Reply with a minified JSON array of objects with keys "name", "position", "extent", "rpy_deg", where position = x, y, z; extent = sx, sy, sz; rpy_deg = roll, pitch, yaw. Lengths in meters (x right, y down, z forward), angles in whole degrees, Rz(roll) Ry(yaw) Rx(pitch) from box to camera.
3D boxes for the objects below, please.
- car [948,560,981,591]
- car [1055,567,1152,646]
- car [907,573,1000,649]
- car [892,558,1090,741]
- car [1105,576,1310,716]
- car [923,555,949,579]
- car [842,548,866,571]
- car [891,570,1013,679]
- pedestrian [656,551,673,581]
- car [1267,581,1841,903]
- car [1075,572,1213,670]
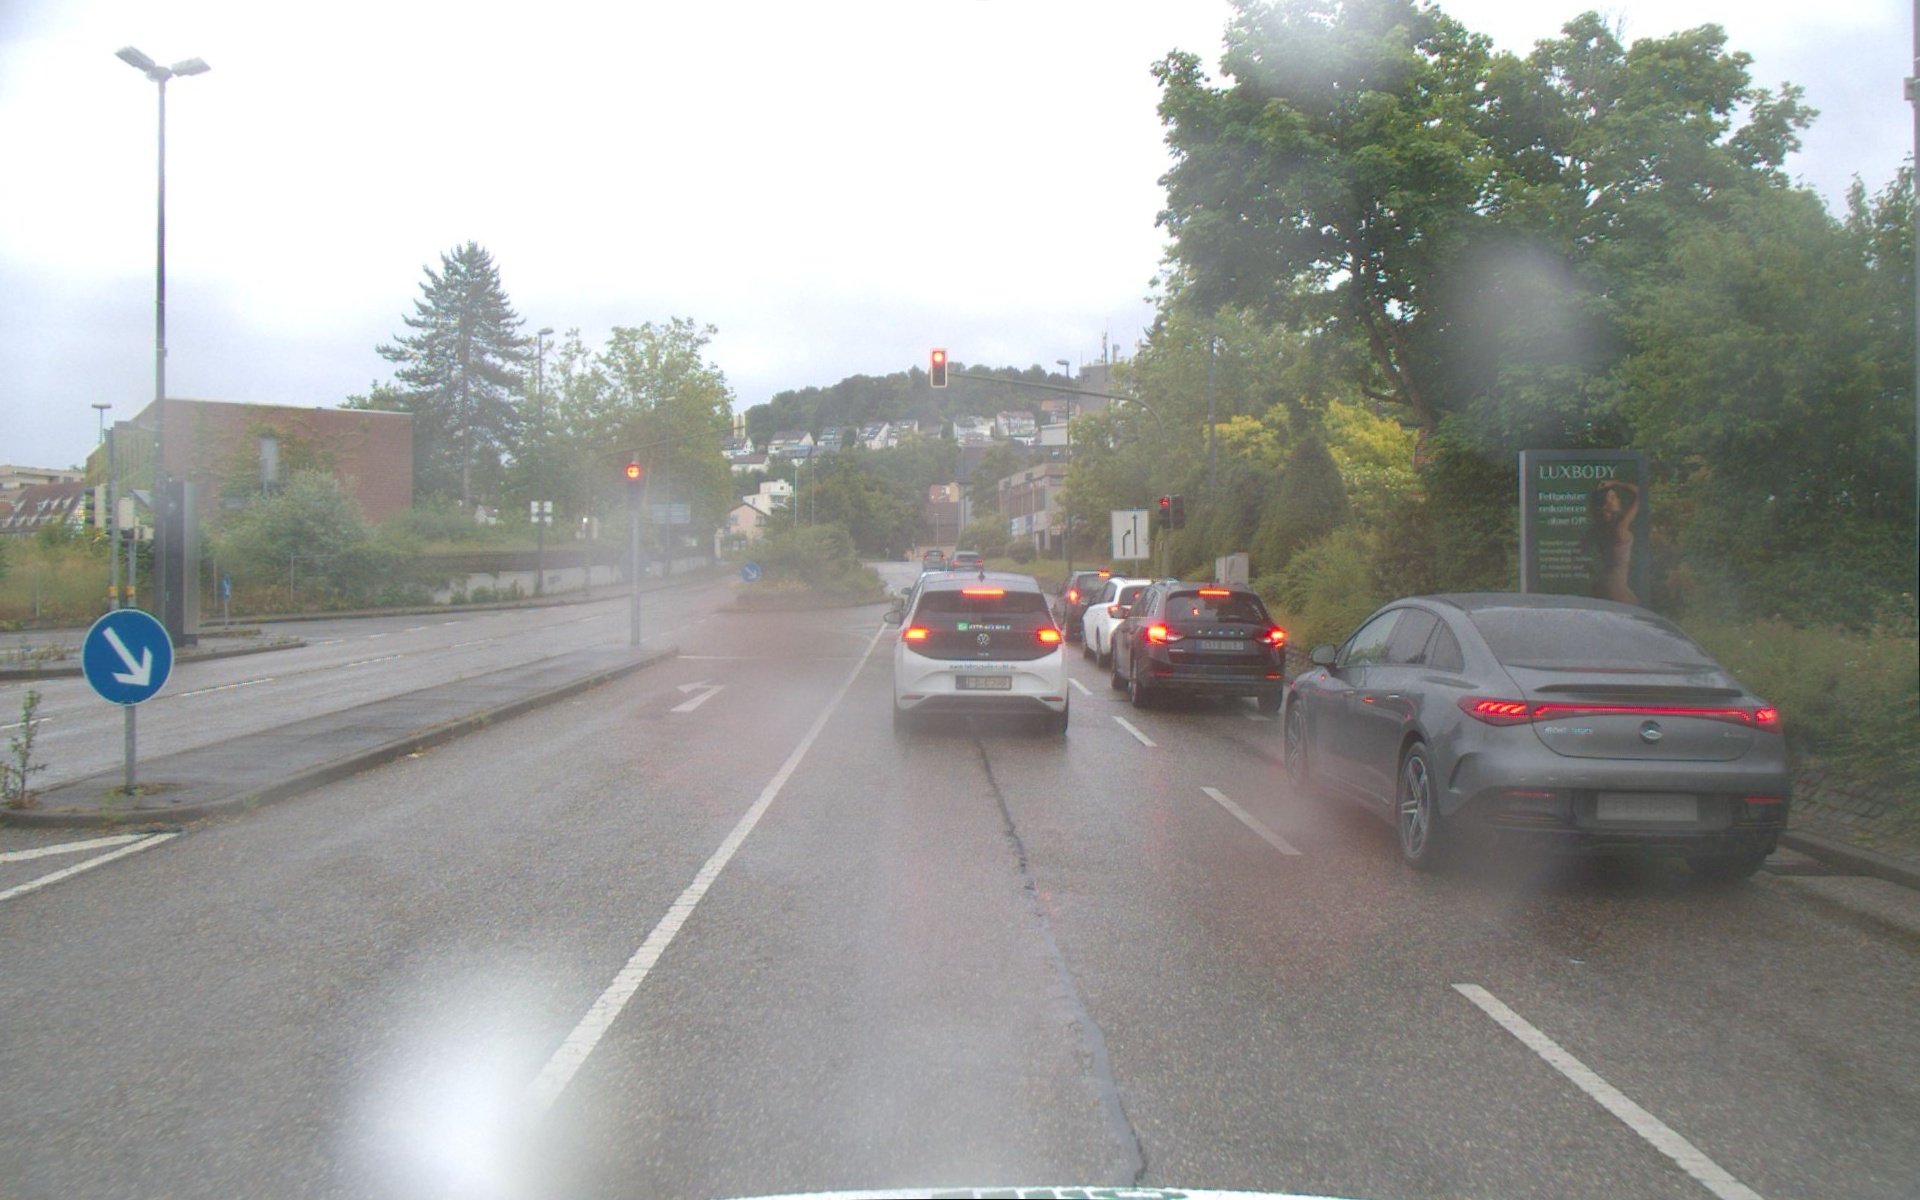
[{"name":"car","position":[0.231,-1.343,91.152],"extent":[1.739,1.608,4.000],"rpy_deg":[-2,0,0]},{"name":"car","position":[3.131,0.118,36.779],"extent":[1.739,1.609,4.000],"rpy_deg":[1,0,0]},{"name":"car","position":[-0.160,0.178,34.403],"extent":[1.800,1.424,3.830],"rpy_deg":[2,1,-1]},{"name":"car","position":[0.246,0.421,17.742],"extent":[1.800,1.657,4.615],"rpy_deg":[2,1,-1]},{"name":"car","position":[2.966,0.487,20.730],"extent":[1.800,1.492,4.349],"rpy_deg":[2,1,-1]},{"name":"car","position":[-1.726,-2.366,119.757],"extent":[1.739,1.608,4.000],"rpy_deg":[-2,0,0]},{"name":"car","position":[-9.843,-3.736,153.512],"extent":[1.953,2.049,3.999],"rpy_deg":[1,0,0]},{"name":"car","position":[-0.158,0.331,26.942],"extent":[1.800,1.582,4.174],"rpy_deg":[2,1,-1]},{"name":"pedestrian","position":[-15.916,-1.813,89.108],"extent":[0.744,1.595,0.825],"rpy_deg":[-2,0,-1]},{"name":"car","position":[3.353,0.670,10.489],"extent":[1.800,1.492,4.807],"rpy_deg":[2,1,-1]},{"name":"car","position":[3.066,0.306,28.372],"extent":[1.800,1.492,4.116],"rpy_deg":[2,1,-1]}]
